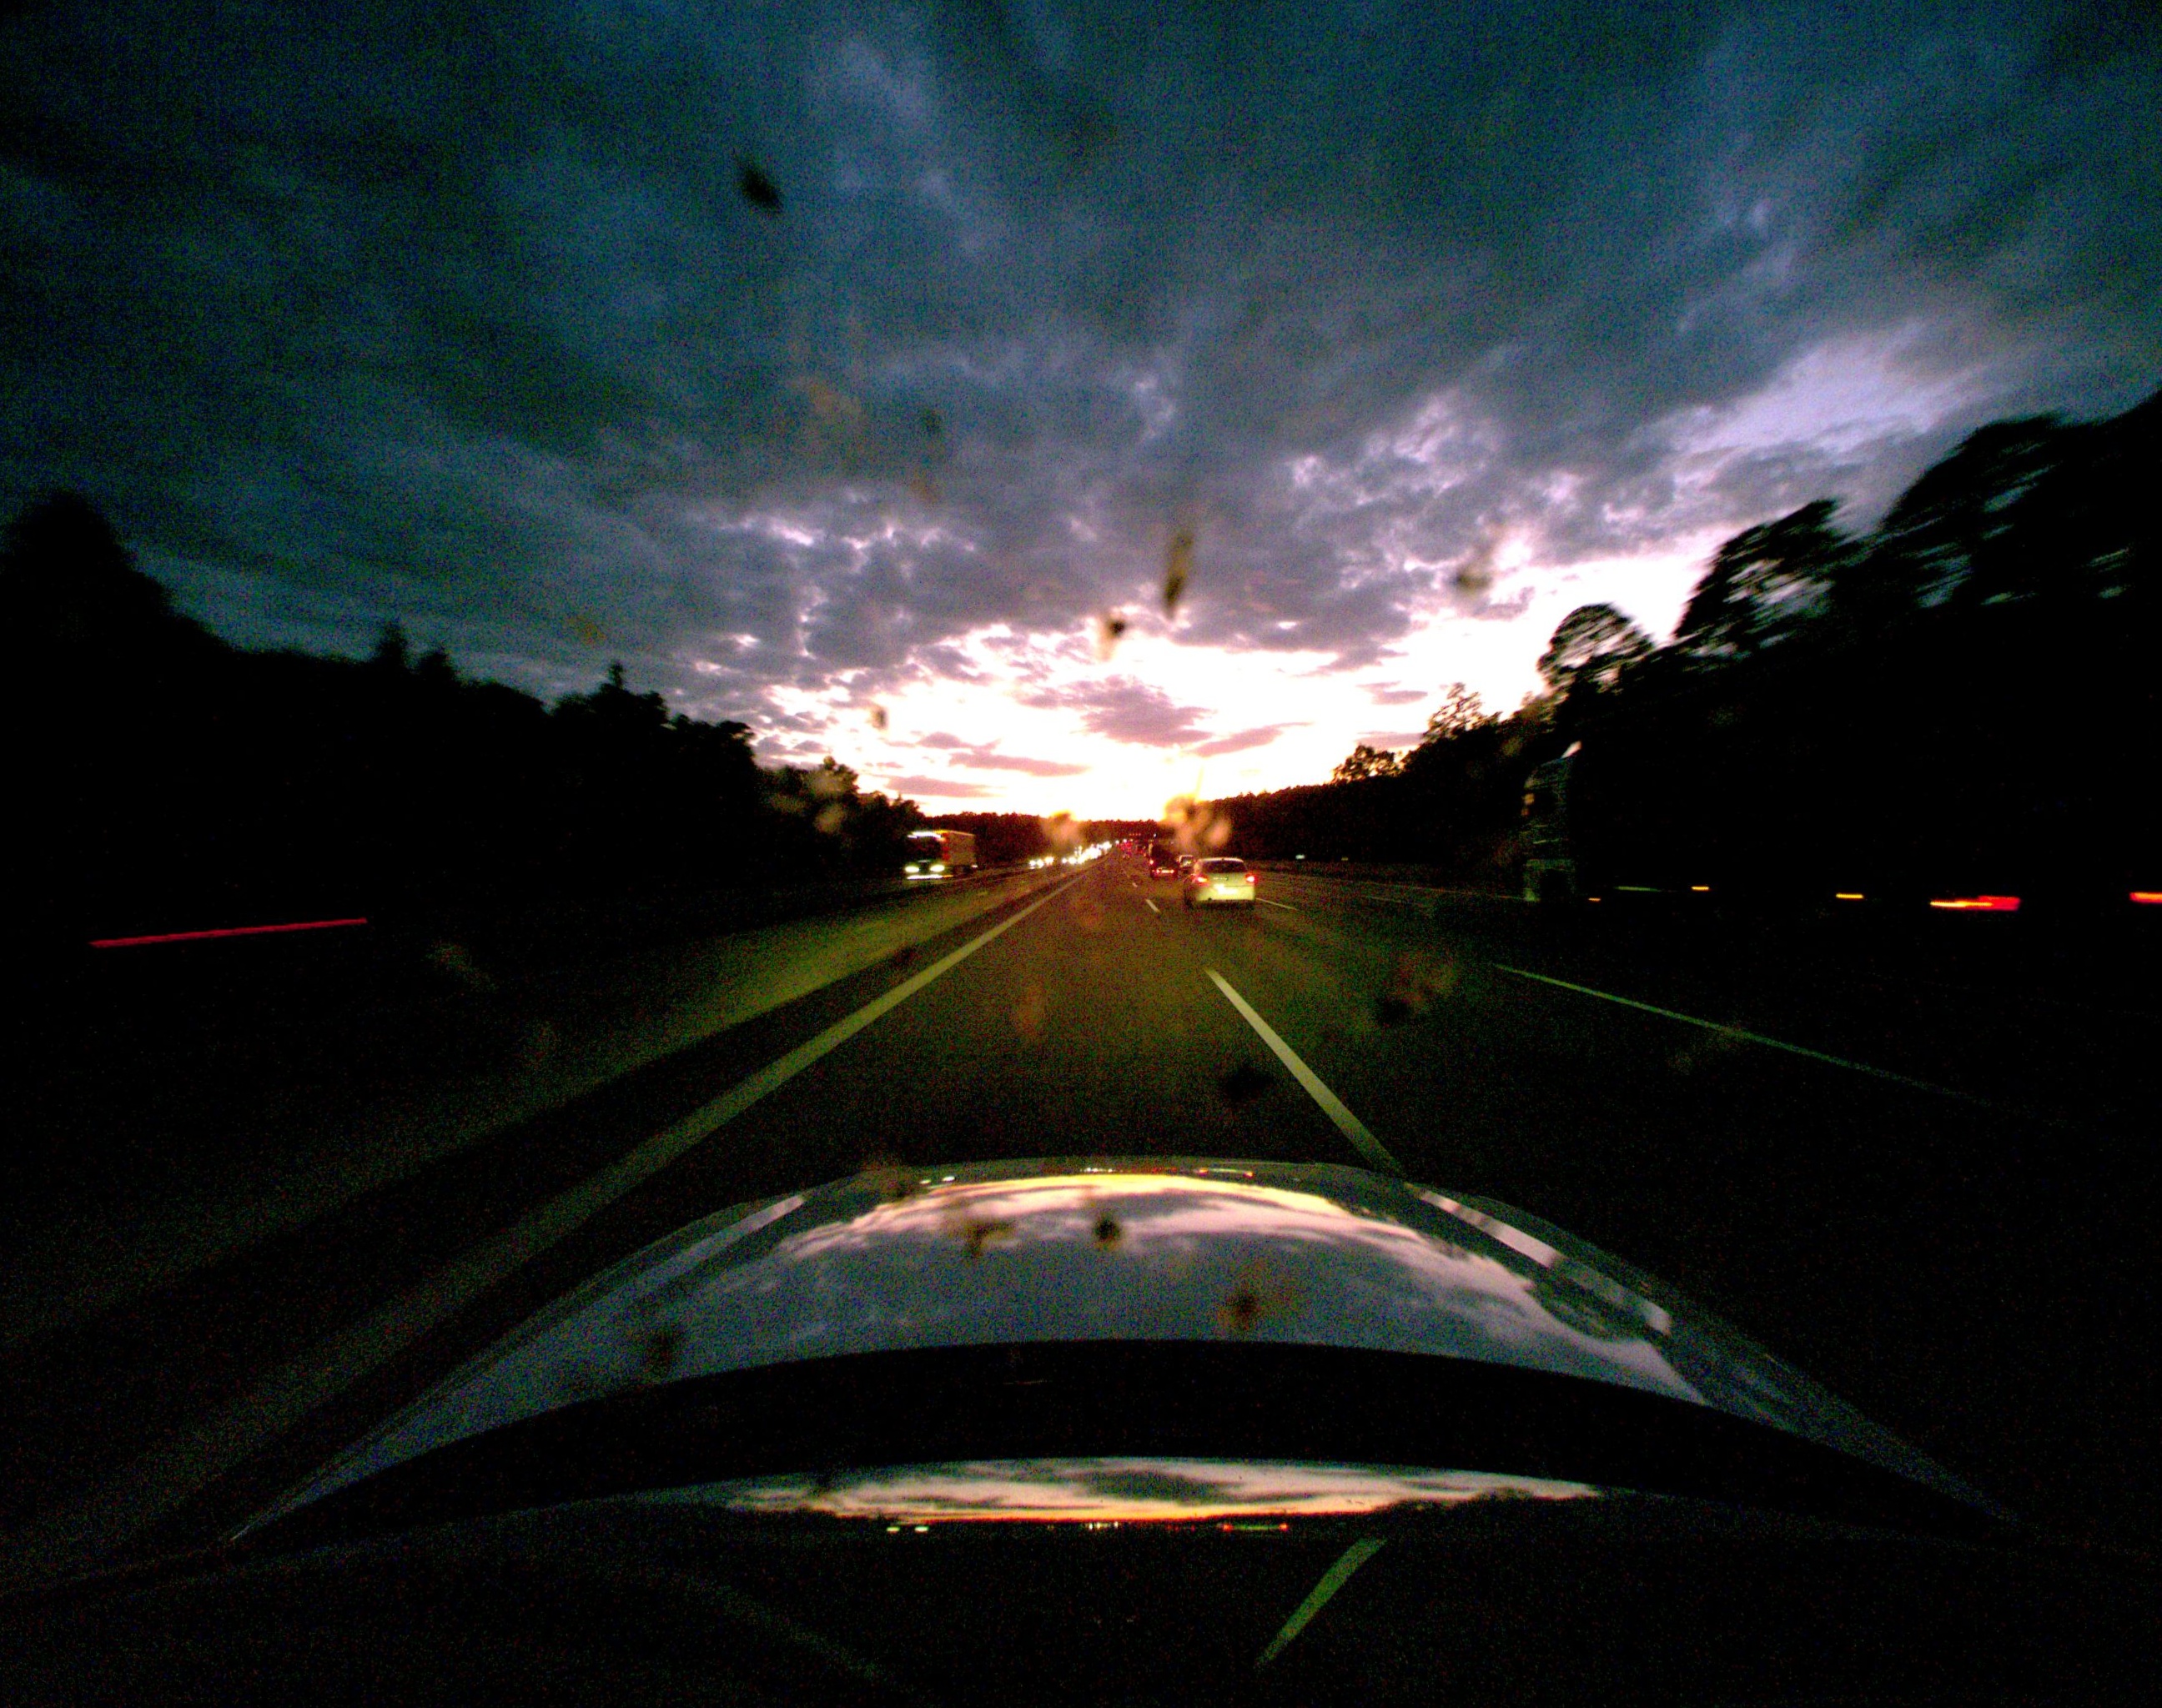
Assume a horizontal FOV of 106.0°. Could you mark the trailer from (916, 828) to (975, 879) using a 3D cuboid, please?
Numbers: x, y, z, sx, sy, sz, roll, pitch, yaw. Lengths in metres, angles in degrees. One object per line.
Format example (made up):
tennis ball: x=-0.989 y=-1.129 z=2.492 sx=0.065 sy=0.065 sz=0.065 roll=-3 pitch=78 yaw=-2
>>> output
trailer: x=-12.031 y=0.013 z=73.876 sx=2.640 sy=4.131 sz=14.329 roll=-1 pitch=0 yaw=1

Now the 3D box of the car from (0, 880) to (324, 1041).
car: x=-10.891 y=1.045 z=8.227 sx=1.770 sy=1.401 sz=4.941 roll=-1 pitch=0 yaw=2

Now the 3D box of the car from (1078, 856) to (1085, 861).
car: x=0.258 y=1.337 z=249.706 sx=1.829 sy=1.438 sz=4.003 roll=-2 pitch=0 yaw=3

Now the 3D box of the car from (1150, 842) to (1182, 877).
car: x=6.129 y=0.398 z=59.529 sx=2.156 sy=2.419 sz=5.571 roll=-2 pitch=0 yaw=5

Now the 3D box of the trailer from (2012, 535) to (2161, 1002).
trailer: x=10.780 y=-0.784 z=3.083 sx=2.896 sy=4.100 sz=10.363 roll=-1 pitch=0 yaw=2

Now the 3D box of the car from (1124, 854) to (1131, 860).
car: x=13.048 y=0.831 z=230.028 sx=1.828 sy=1.570 sz=4.005 roll=-2 pitch=0 yaw=5

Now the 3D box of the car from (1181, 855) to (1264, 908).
car: x=4.091 y=0.800 z=24.062 sx=1.853 sy=1.442 sz=3.720 roll=-1 pitch=-2 yaw=1

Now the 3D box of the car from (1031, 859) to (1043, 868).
car: x=-8.145 y=1.743 z=150.911 sx=1.905 sy=1.425 sz=4.748 roll=-1 pitch=0 yaw=2

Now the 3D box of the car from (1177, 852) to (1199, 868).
car: x=11.131 y=0.616 z=84.768 sx=1.998 sy=1.538 sz=4.005 roll=-2 pitch=0 yaw=5

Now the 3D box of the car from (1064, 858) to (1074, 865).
car: x=-2.741 y=1.684 z=186.540 sx=1.841 sy=1.414 sz=4.793 roll=-2 pitch=0 yaw=2

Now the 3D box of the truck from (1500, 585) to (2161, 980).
truck: x=11.232 y=-0.741 z=13.915 sx=2.873 sy=4.100 sz=10.838 roll=-1 pitch=0 yaw=2

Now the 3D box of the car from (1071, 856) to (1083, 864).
car: x=-0.799 y=1.203 z=160.482 sx=1.985 sy=1.425 sz=5.149 roll=-1 pitch=0 yaw=3

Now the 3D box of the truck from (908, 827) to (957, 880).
truck: x=-12.161 y=-0.020 z=67.059 sx=2.640 sy=4.131 sz=6.525 roll=-1 pitch=0 yaw=1

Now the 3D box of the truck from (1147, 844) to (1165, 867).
truck: x=19.637 y=0.417 z=214.744 sx=4.132 sy=5.856 sz=14.307 roll=-2 pitch=0 yaw=3
